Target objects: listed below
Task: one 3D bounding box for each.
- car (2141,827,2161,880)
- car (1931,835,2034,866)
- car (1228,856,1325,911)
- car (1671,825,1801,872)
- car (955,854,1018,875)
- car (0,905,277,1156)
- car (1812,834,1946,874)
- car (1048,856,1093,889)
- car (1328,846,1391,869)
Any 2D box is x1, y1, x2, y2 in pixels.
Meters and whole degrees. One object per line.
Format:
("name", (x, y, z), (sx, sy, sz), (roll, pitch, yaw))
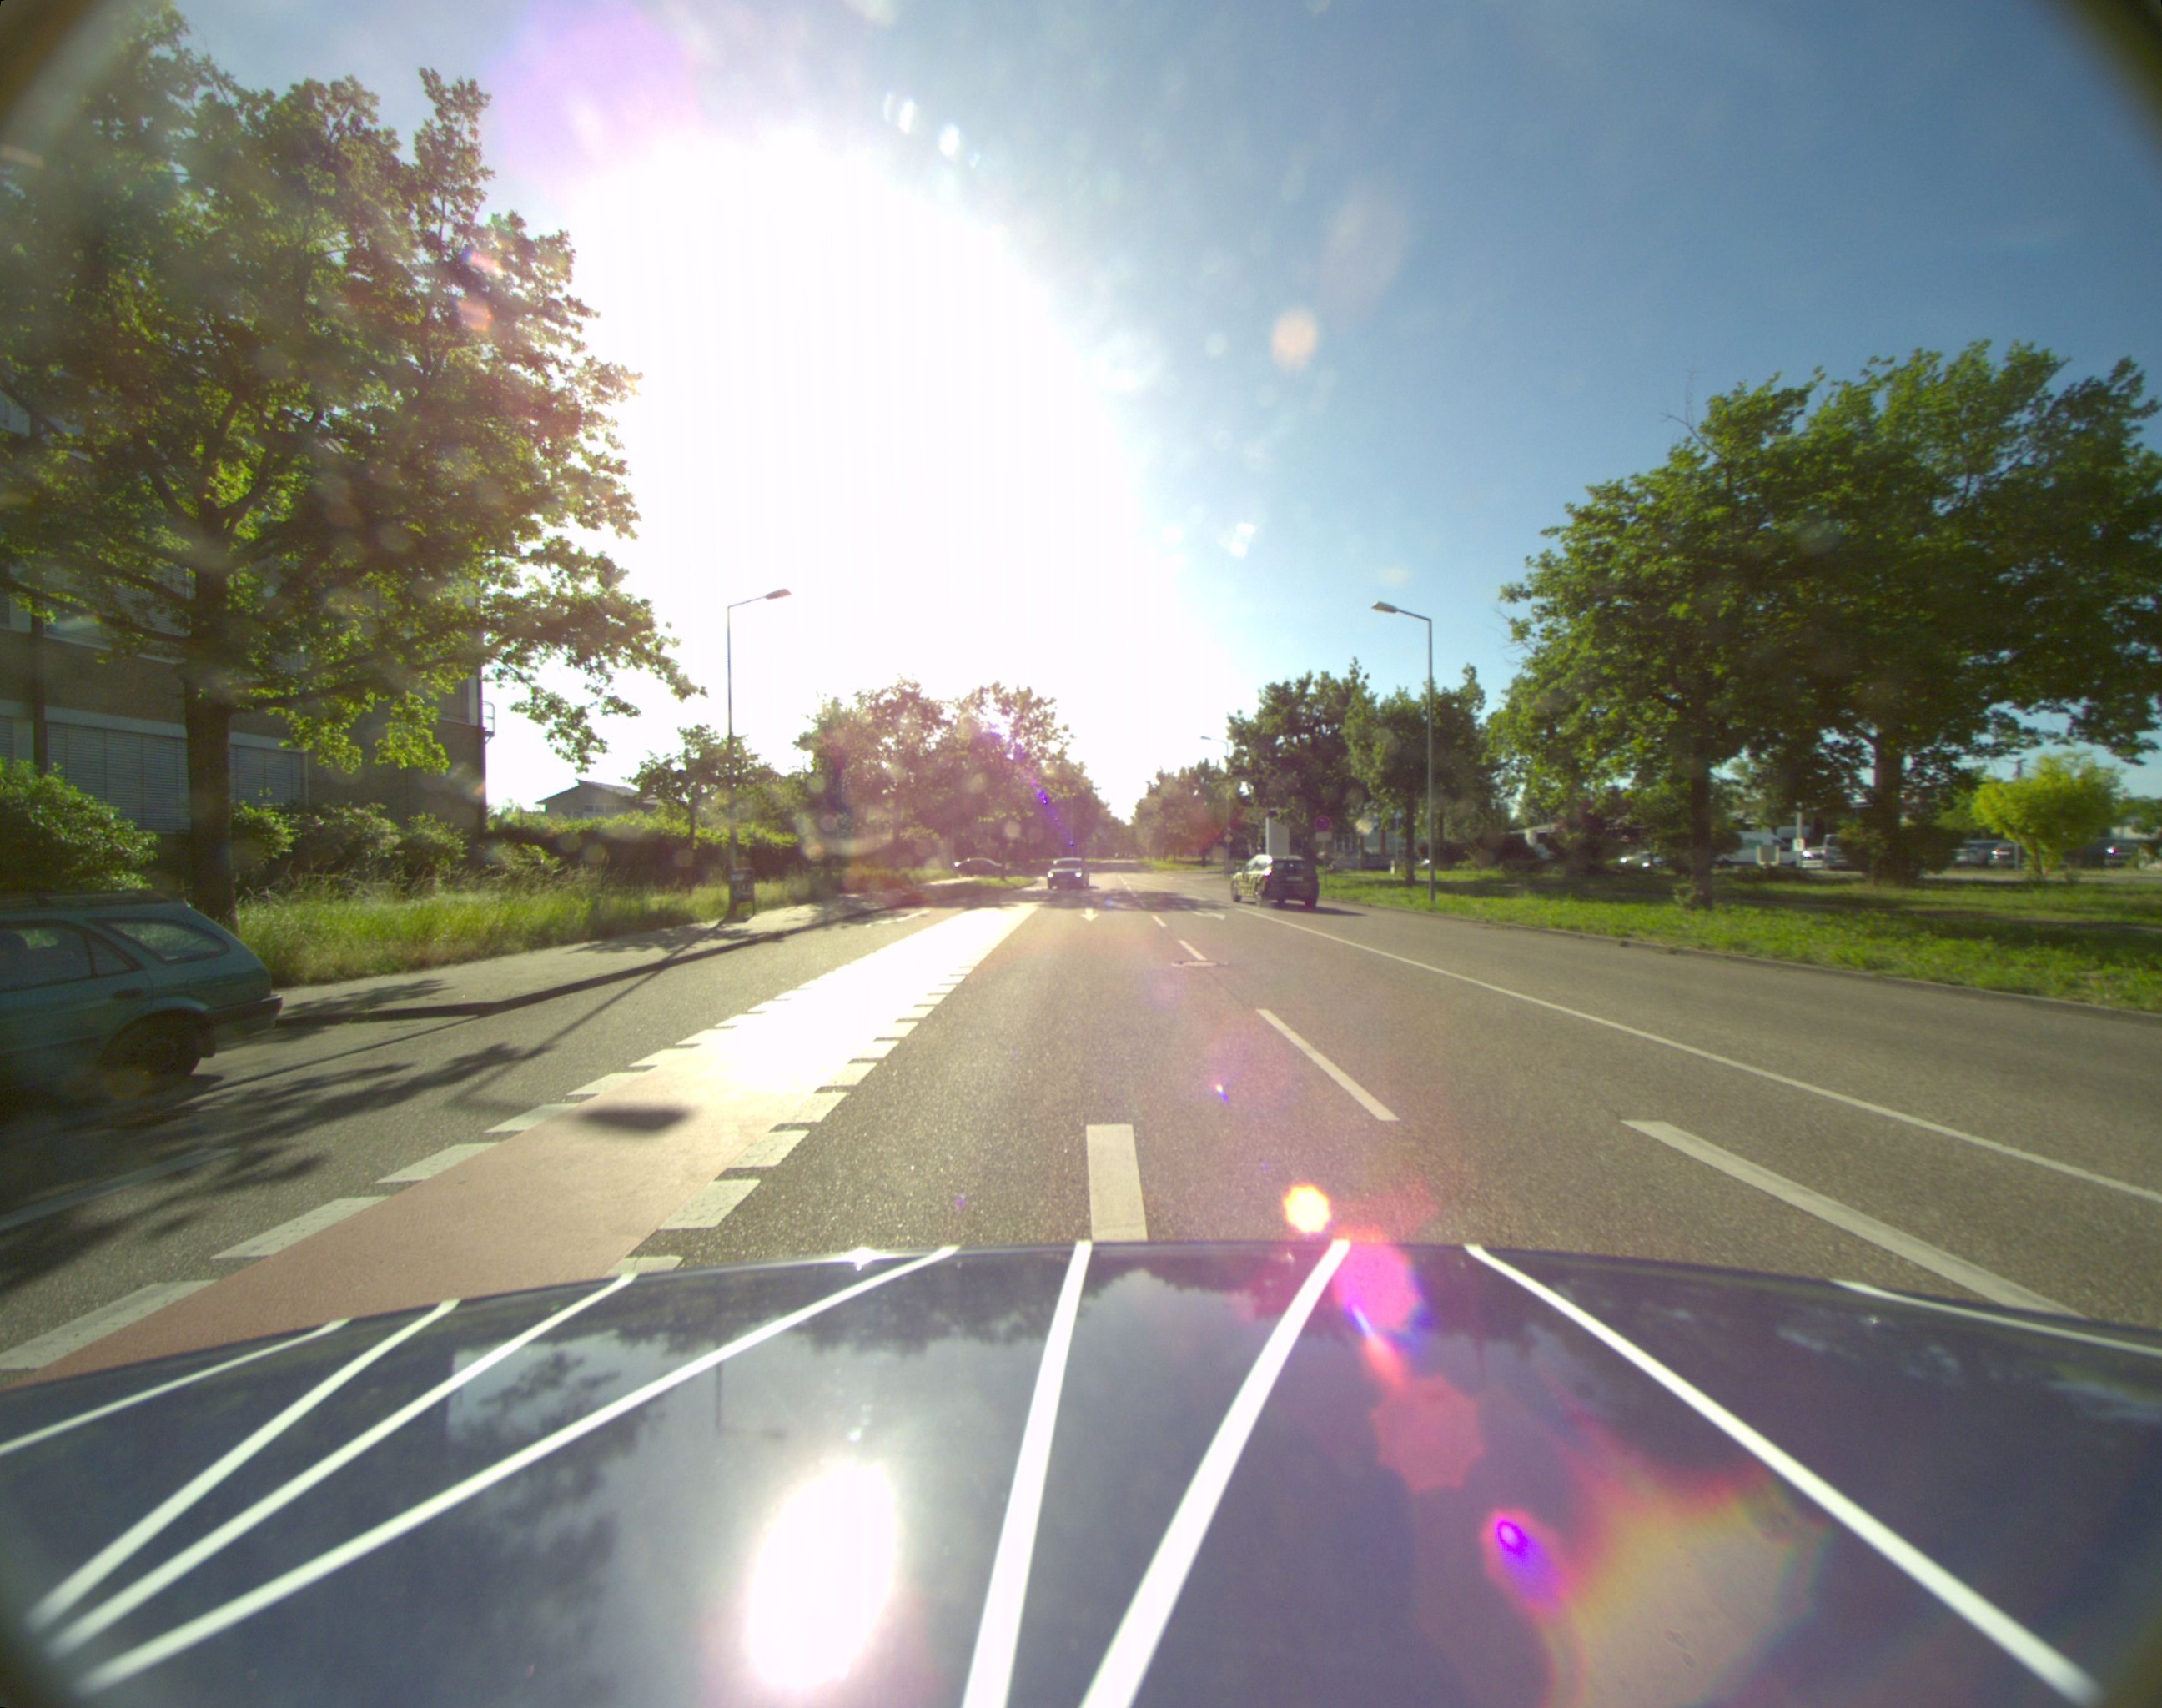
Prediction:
("car", (33.888, -0.086, 22.031), (3.817, 1.562, 1.736), (-2, -1, 0))
("car", (52.090, -0.207, 43.950), (3.860, 1.661, 1.762), (-2, 1, 0))
("car", (6.012, 0.853, 23.861), (1.768, 1.517, 4.078), (0, 0, -4))
("car", (39.901, -0.338, 46.389), (6.023, 2.540, 2.409), (-2, 1, -4))
("car", (-7.286, 0.812, 58.677), (4.481, 1.510, 1.898), (0, 1, 12))
("car", (-7.525, 1.132, 4.212), (1.706, 1.460, 4.141), (-1, -1, 0))
("car", (40.062, -0.005, 38.212), (4.642, 1.771, 1.990), (-2, 1, 0))
("car", (-0.453, 0.881, 37.814), (1.652, 1.460, 3.943), (-2, 0, 7))
("car", (23.931, 0.298, 65.362), (4.637, 1.822, 2.000), (-2, 1, 0))
